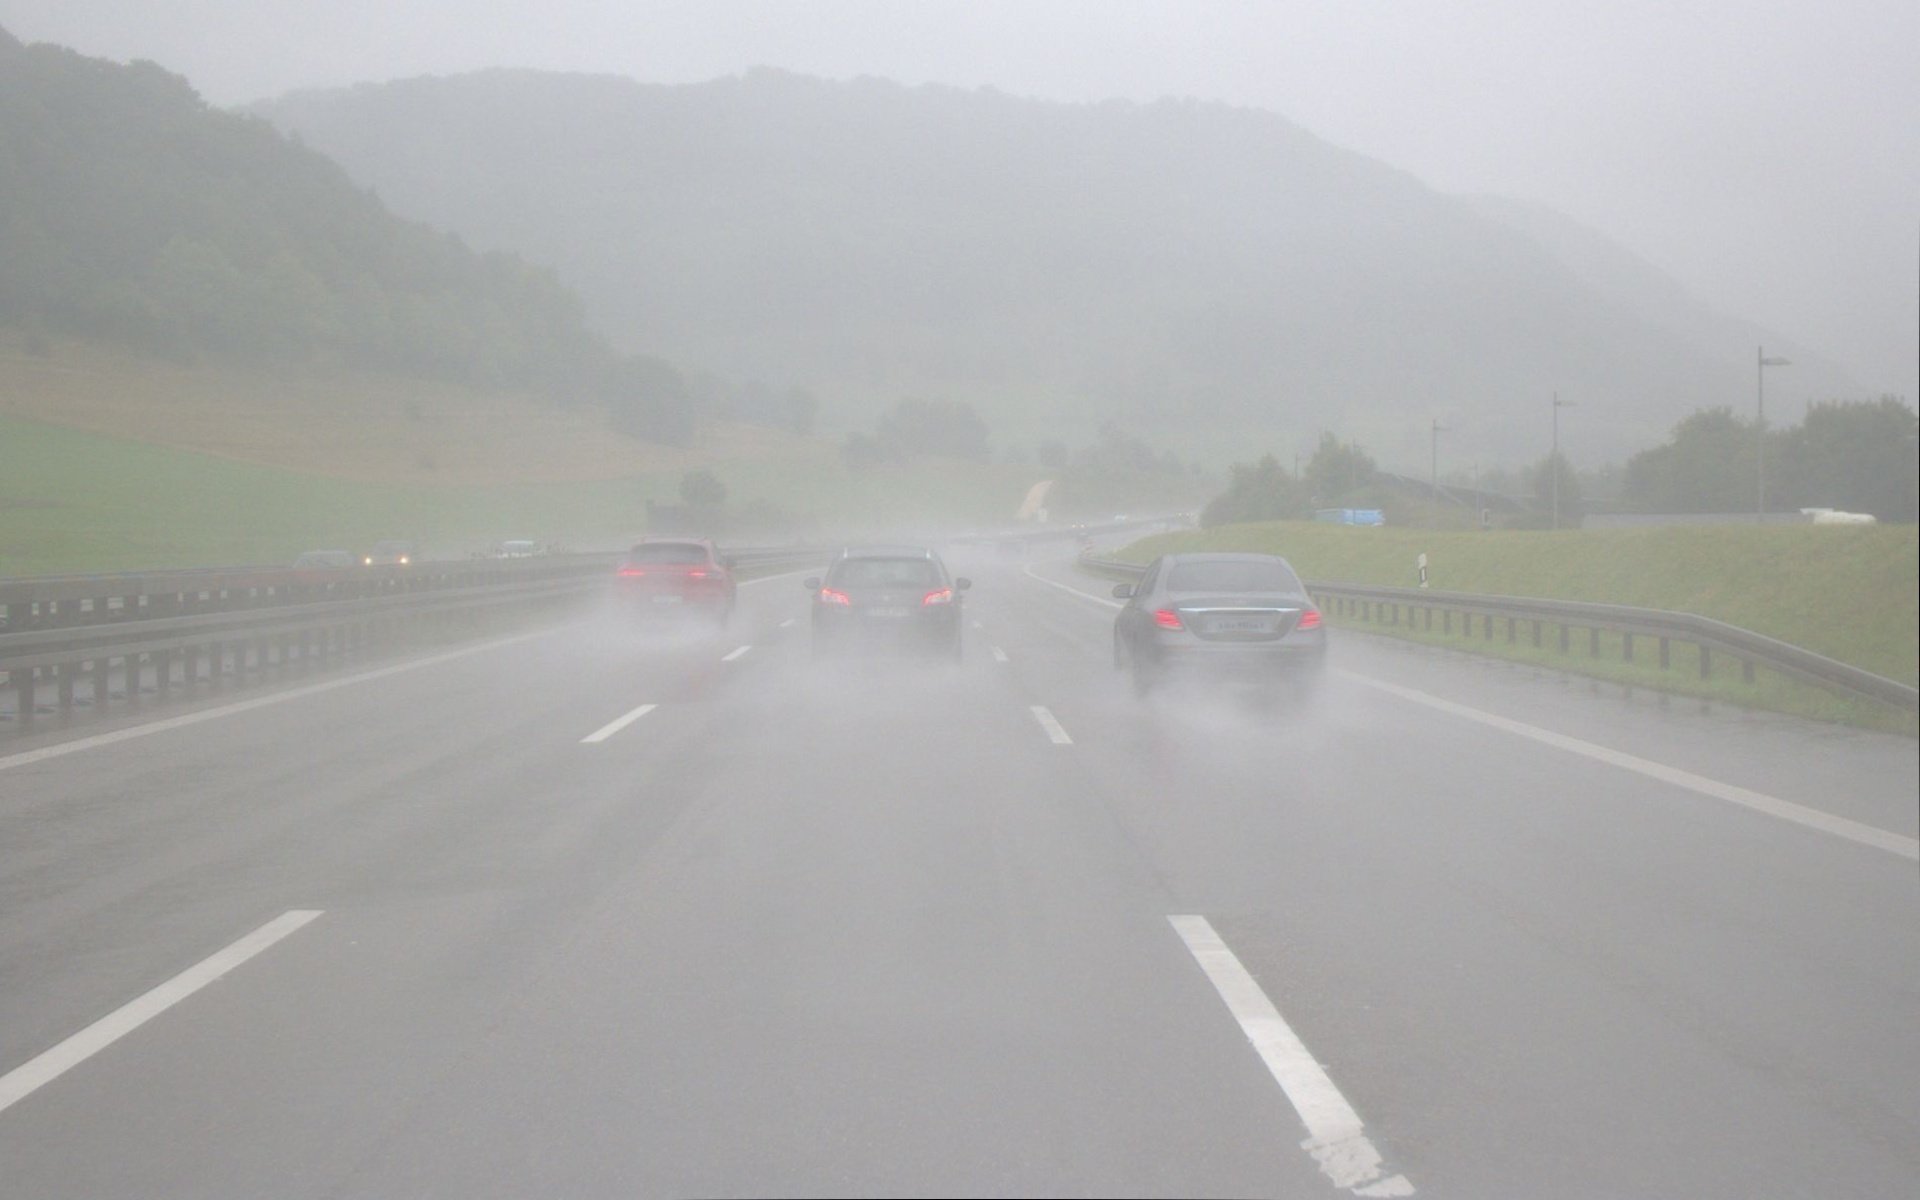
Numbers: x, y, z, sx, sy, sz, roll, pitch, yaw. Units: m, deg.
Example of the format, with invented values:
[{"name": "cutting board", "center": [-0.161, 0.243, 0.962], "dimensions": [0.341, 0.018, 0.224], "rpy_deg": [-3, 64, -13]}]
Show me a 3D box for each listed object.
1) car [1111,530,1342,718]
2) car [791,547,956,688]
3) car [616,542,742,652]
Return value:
[{"name": "car", "center": [2.601, 0.188, 34.406], "dimensions": [1.971, 1.754, 4.000], "rpy_deg": [-1, 1, 0]}, {"name": "car", "center": [-0.987, 0.173, 41.342], "dimensions": [1.859, 1.584, 4.000], "rpy_deg": [1, 1, 0]}, {"name": "car", "center": [-4.779, -0.086, 58.923], "dimensions": [1.884, 1.809, 4.000], "rpy_deg": [0, 1, -1]}]
